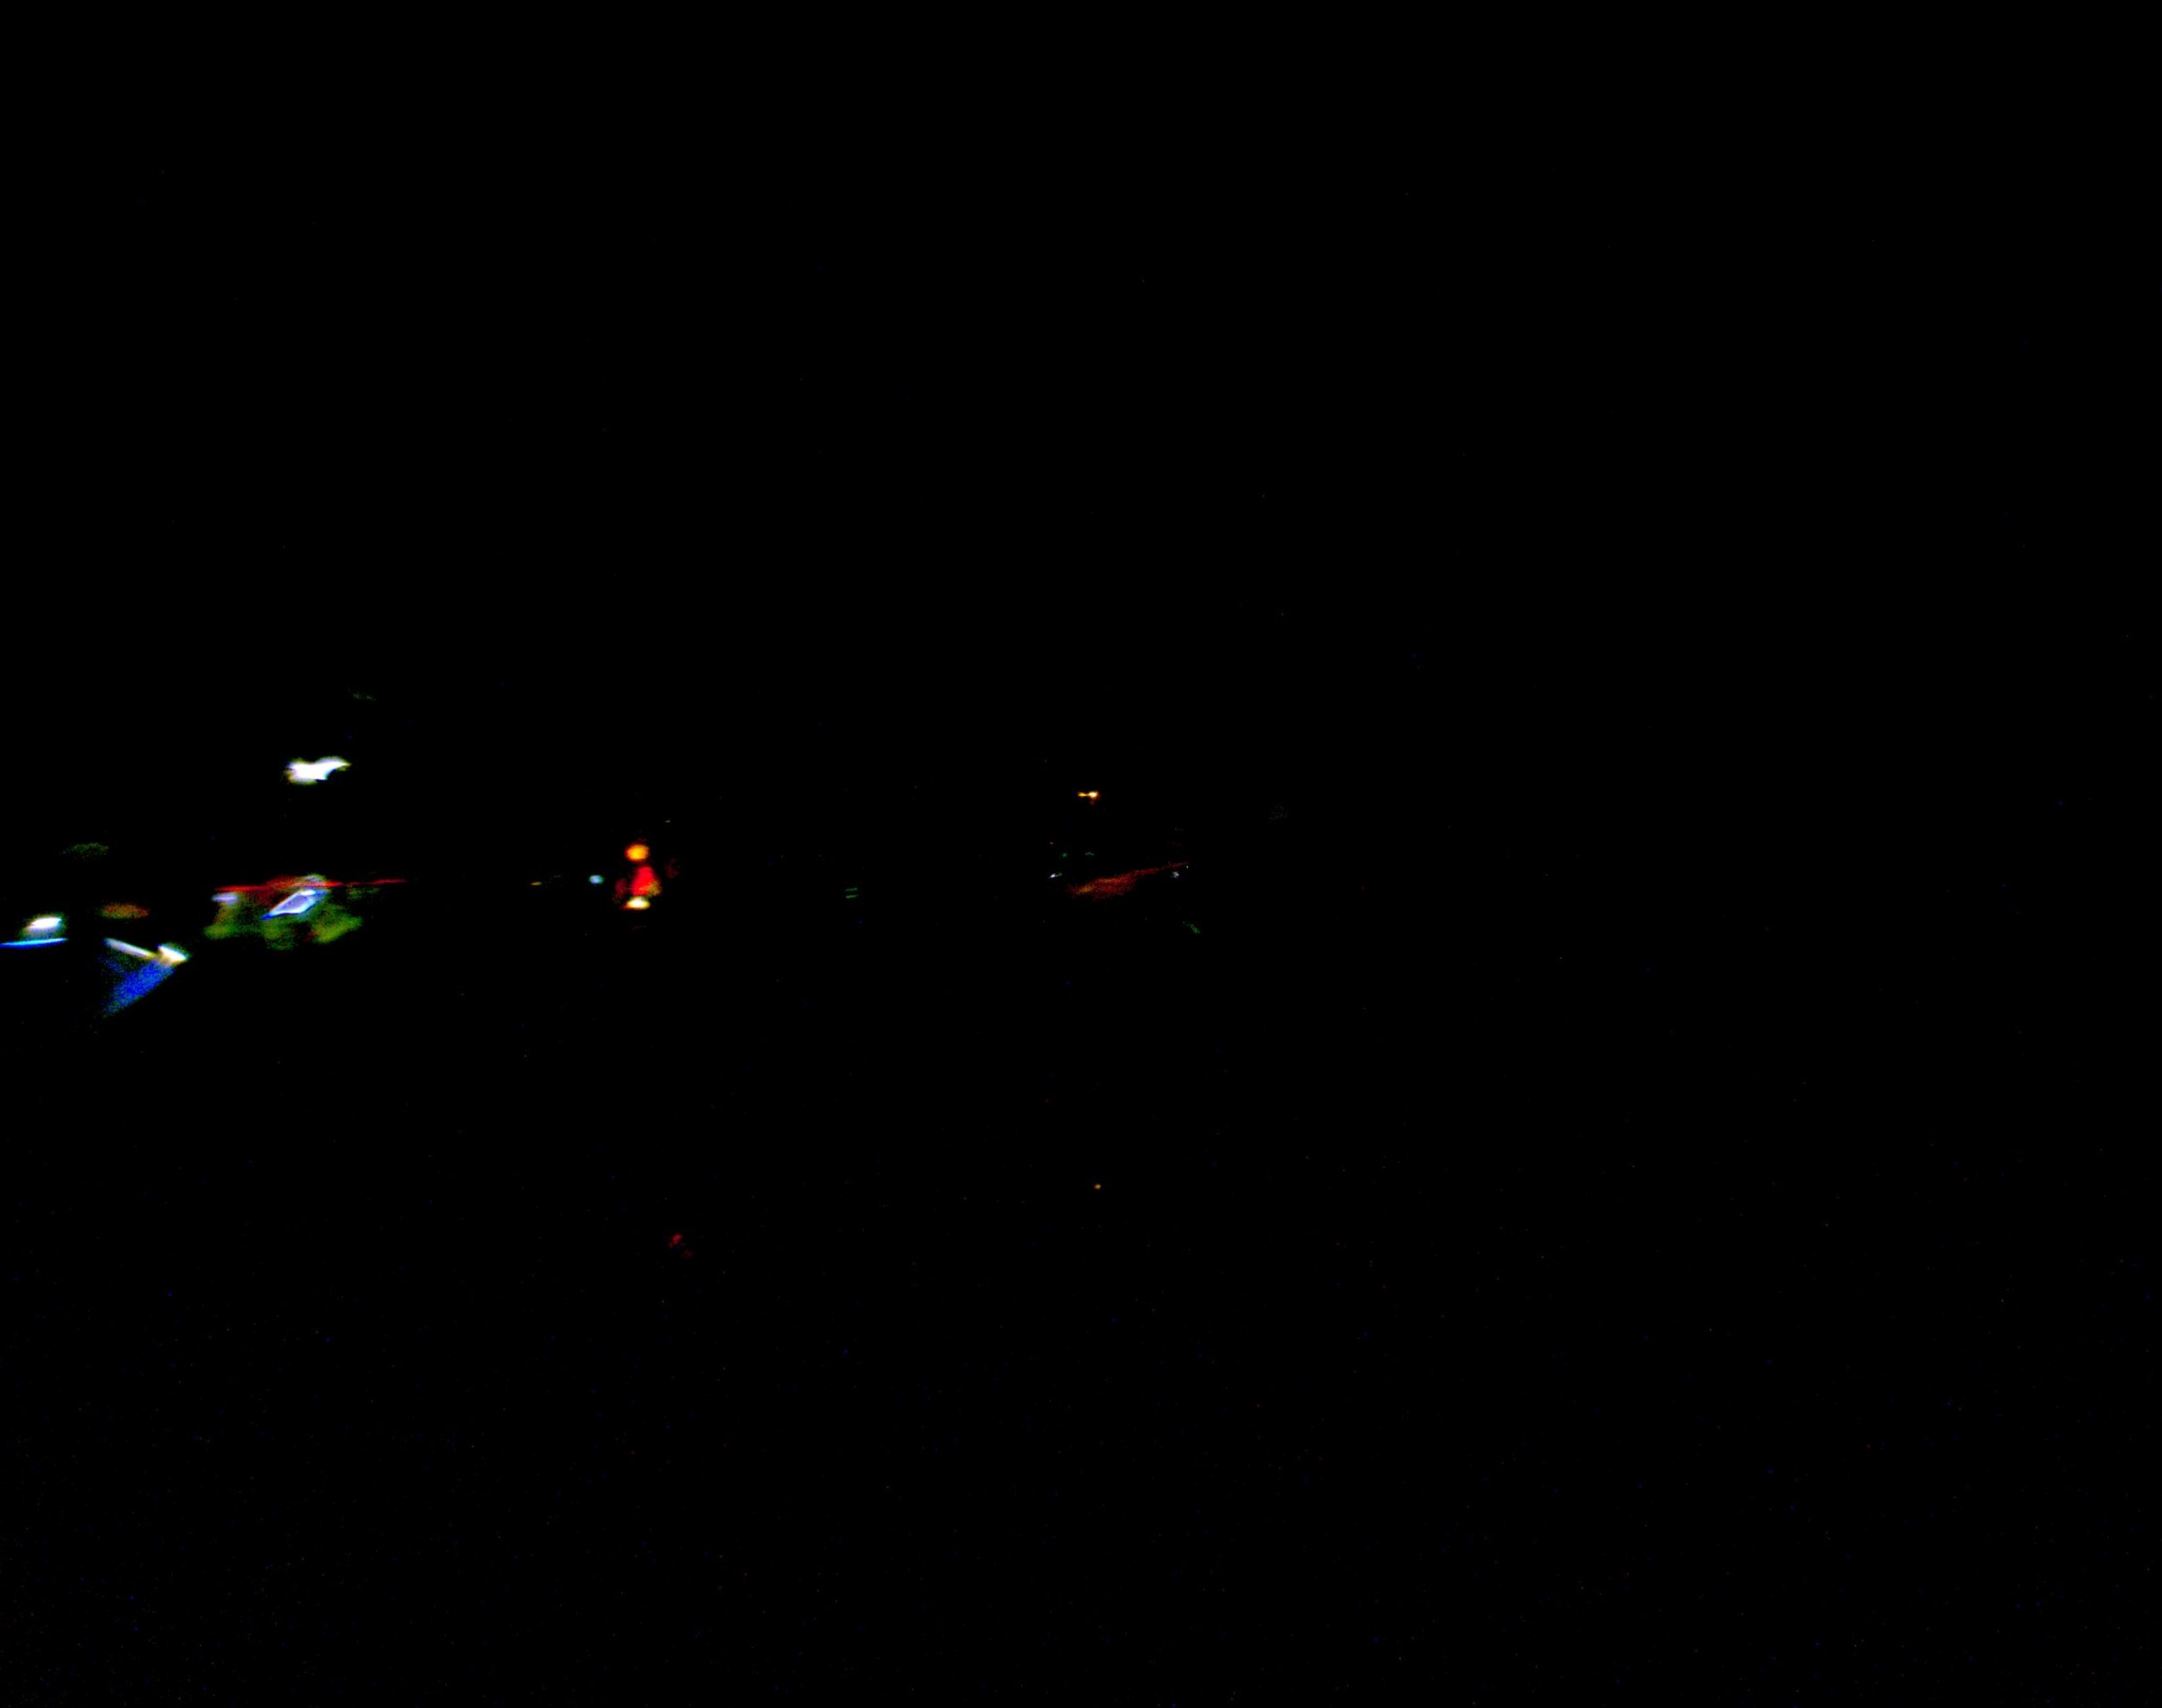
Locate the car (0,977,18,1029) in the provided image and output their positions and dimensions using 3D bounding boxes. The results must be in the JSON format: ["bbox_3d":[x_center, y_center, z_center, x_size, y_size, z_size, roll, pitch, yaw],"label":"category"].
[{"bbox_3d":[-37.844,5.228,26.415,1.769,1.693,3.744,-7,0,-4],"label":"car"}]

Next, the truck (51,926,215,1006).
[{"bbox_3d":[-48.429,5.609,41.865,2.001,3.175,5.695,-7,0,-8],"label":"truck"}]

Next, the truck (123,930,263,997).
[{"bbox_3d":[-45.512,5.514,41.938,1.771,2.631,5.162,-7,0,-8],"label":"truck"}]

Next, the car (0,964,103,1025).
[{"bbox_3d":[-35.311,4.742,26.649,1.769,1.595,3.993,-7,0,-4],"label":"car"}]
